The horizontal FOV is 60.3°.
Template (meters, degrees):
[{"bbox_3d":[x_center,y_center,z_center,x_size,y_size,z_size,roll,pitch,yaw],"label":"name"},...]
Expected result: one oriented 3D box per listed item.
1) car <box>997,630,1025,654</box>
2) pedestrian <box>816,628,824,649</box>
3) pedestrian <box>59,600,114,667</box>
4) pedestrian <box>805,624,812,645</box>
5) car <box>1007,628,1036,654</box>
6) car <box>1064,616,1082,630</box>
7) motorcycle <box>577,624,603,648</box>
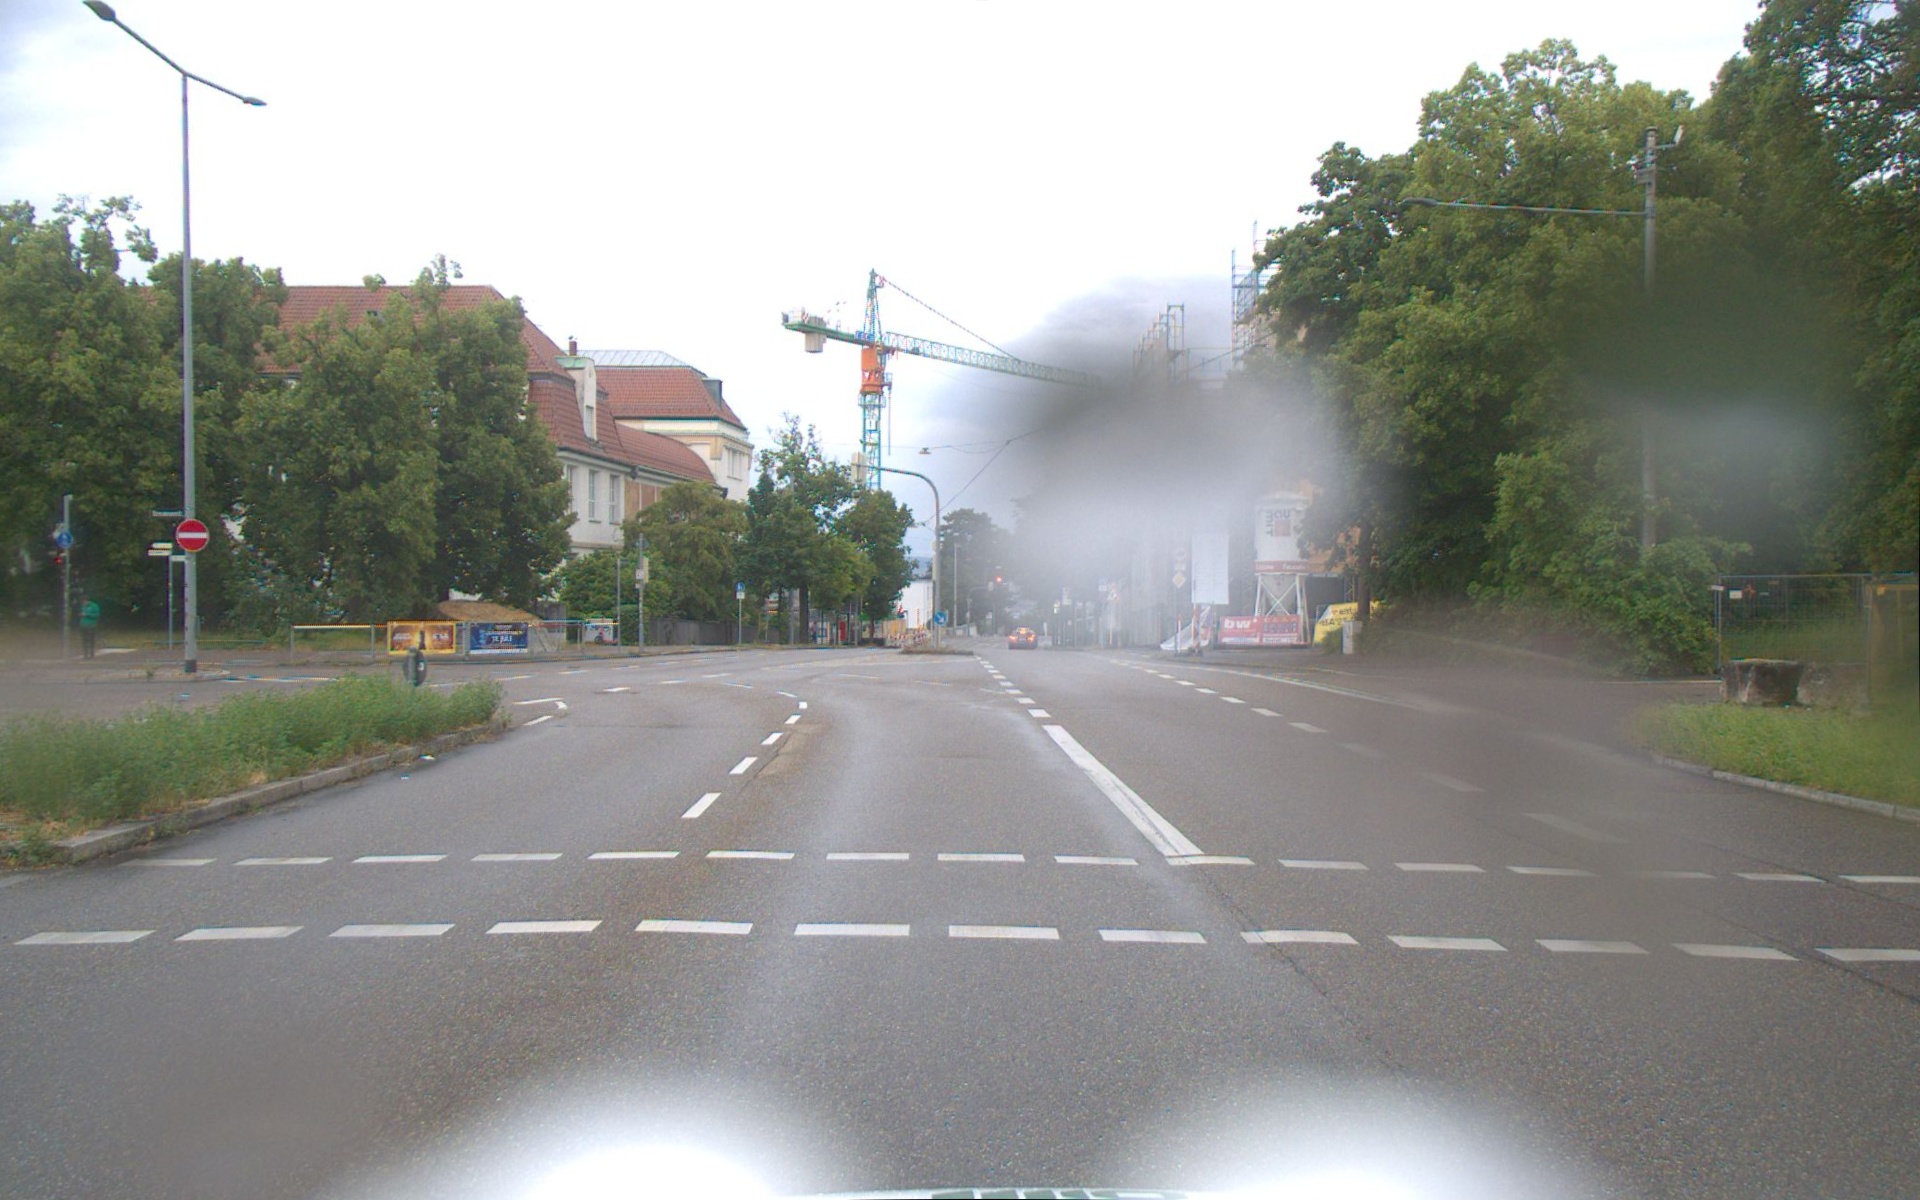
[{"bbox_3d":[4.038,3.315,131.387,1.953,1.780,3.999,-1,0,-1],"label":"car"},{"bbox_3d":[-9.493,2.602,112.148,0.465,1.421,0.411,0,0,-1],"label":"pedestrian"},{"bbox_3d":[-23.158,0.884,43.876,0.903,1.757,0.946,1,0,3],"label":"pedestrian"},{"bbox_3d":[-10.285,2.320,112.182,0.465,1.421,0.411,0,0,-1],"label":"pedestrian"},{"bbox_3d":[4.616,3.074,124.854,1.953,1.780,3.999,-1,0,-1],"label":"car"},{"bbox_3d":[14.985,3.107,219.515,1.951,1.780,4.003,-1,0,10],"label":"car"},{"bbox_3d":[-14.445,1.408,64.582,0.832,0.893,0.877,1,0,-1],"label":"motorcycle"}]
